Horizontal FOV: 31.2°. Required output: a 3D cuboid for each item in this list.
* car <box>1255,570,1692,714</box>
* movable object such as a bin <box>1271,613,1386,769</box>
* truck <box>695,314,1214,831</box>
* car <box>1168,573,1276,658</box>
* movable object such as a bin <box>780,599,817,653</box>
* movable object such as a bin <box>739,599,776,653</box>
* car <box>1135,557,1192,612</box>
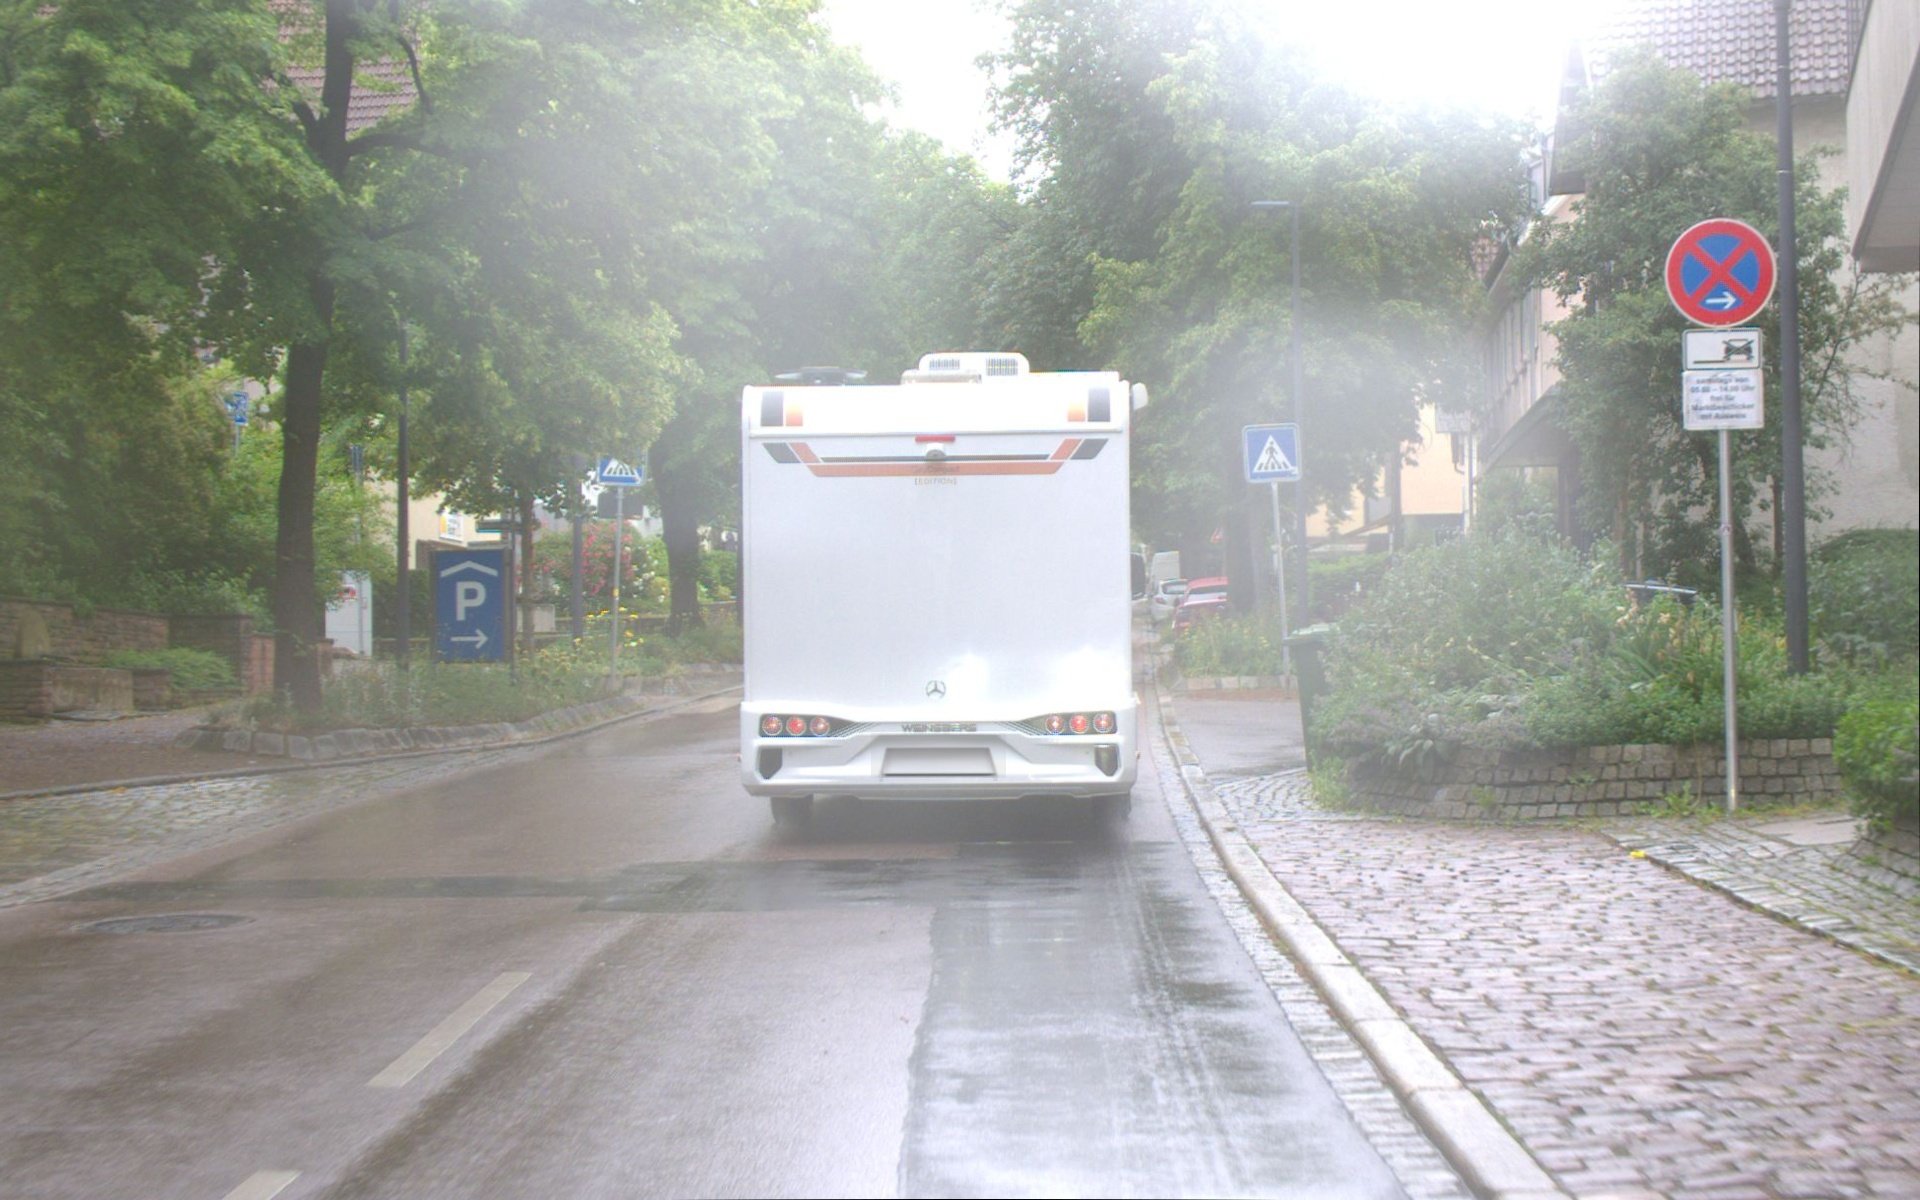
[{"bbox_3d":[5.250,0.416,35.582,4.283,1.412,1.840,0,1,2],"label":"car"},{"bbox_3d":[2.711,0.667,25.267,0.704,1.120,0.571,-2,-1,19],"label":"movable object such as a bin"},{"bbox_3d":[0.094,-0.109,22.086,2.806,2.787,6.106,-2,-1,2],"label":"truck"},{"bbox_3d":[4.829,0.252,63.008,1.856,1.467,4.364,0,1,6],"label":"car"},{"bbox_3d":[-3.282,0.530,70.046,0.670,1.101,0.817,-1,-1,3],"label":"movable object such as a bin"},{"bbox_3d":[-4.162,0.537,70.742,0.670,1.101,0.817,-1,-1,3],"label":"movable object such as a bin"},{"bbox_3d":[6.096,-0.448,103.113,1.649,1.536,3.530,-2,-1,3],"label":"car"}]
